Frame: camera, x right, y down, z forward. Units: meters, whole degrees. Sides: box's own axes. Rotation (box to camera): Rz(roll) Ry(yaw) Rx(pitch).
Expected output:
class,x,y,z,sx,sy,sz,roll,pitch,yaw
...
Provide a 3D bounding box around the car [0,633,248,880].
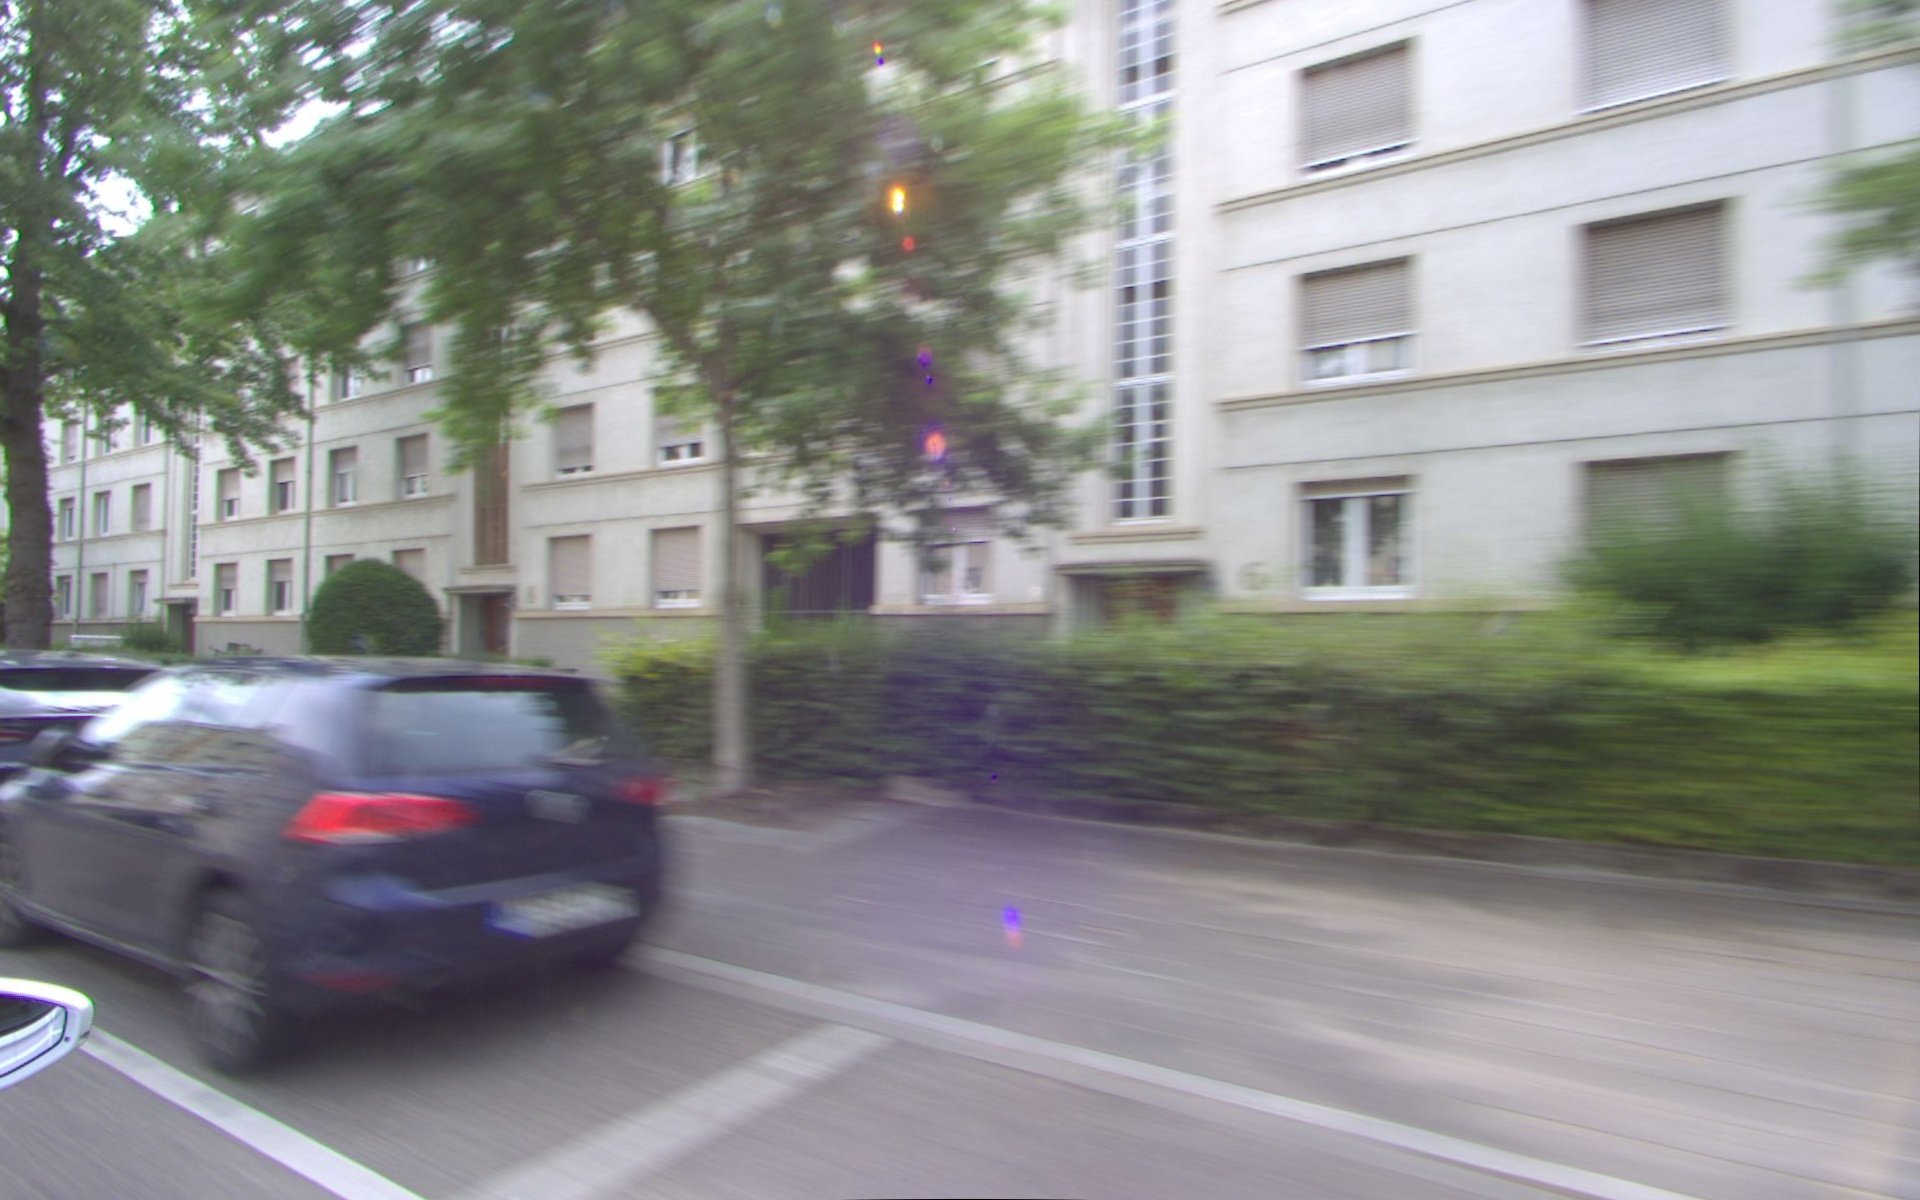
class,x,y,z,sx,sy,sz,roll,pitch,yaw
car,-7.444,1.013,7.633,4.495,1.487,1.695,-1,-4,33

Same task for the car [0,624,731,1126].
class,x,y,z,sx,sy,sz,roll,pitch,yaw
car,-3.184,0.911,4.824,4.043,1.487,1.695,-1,-4,33
